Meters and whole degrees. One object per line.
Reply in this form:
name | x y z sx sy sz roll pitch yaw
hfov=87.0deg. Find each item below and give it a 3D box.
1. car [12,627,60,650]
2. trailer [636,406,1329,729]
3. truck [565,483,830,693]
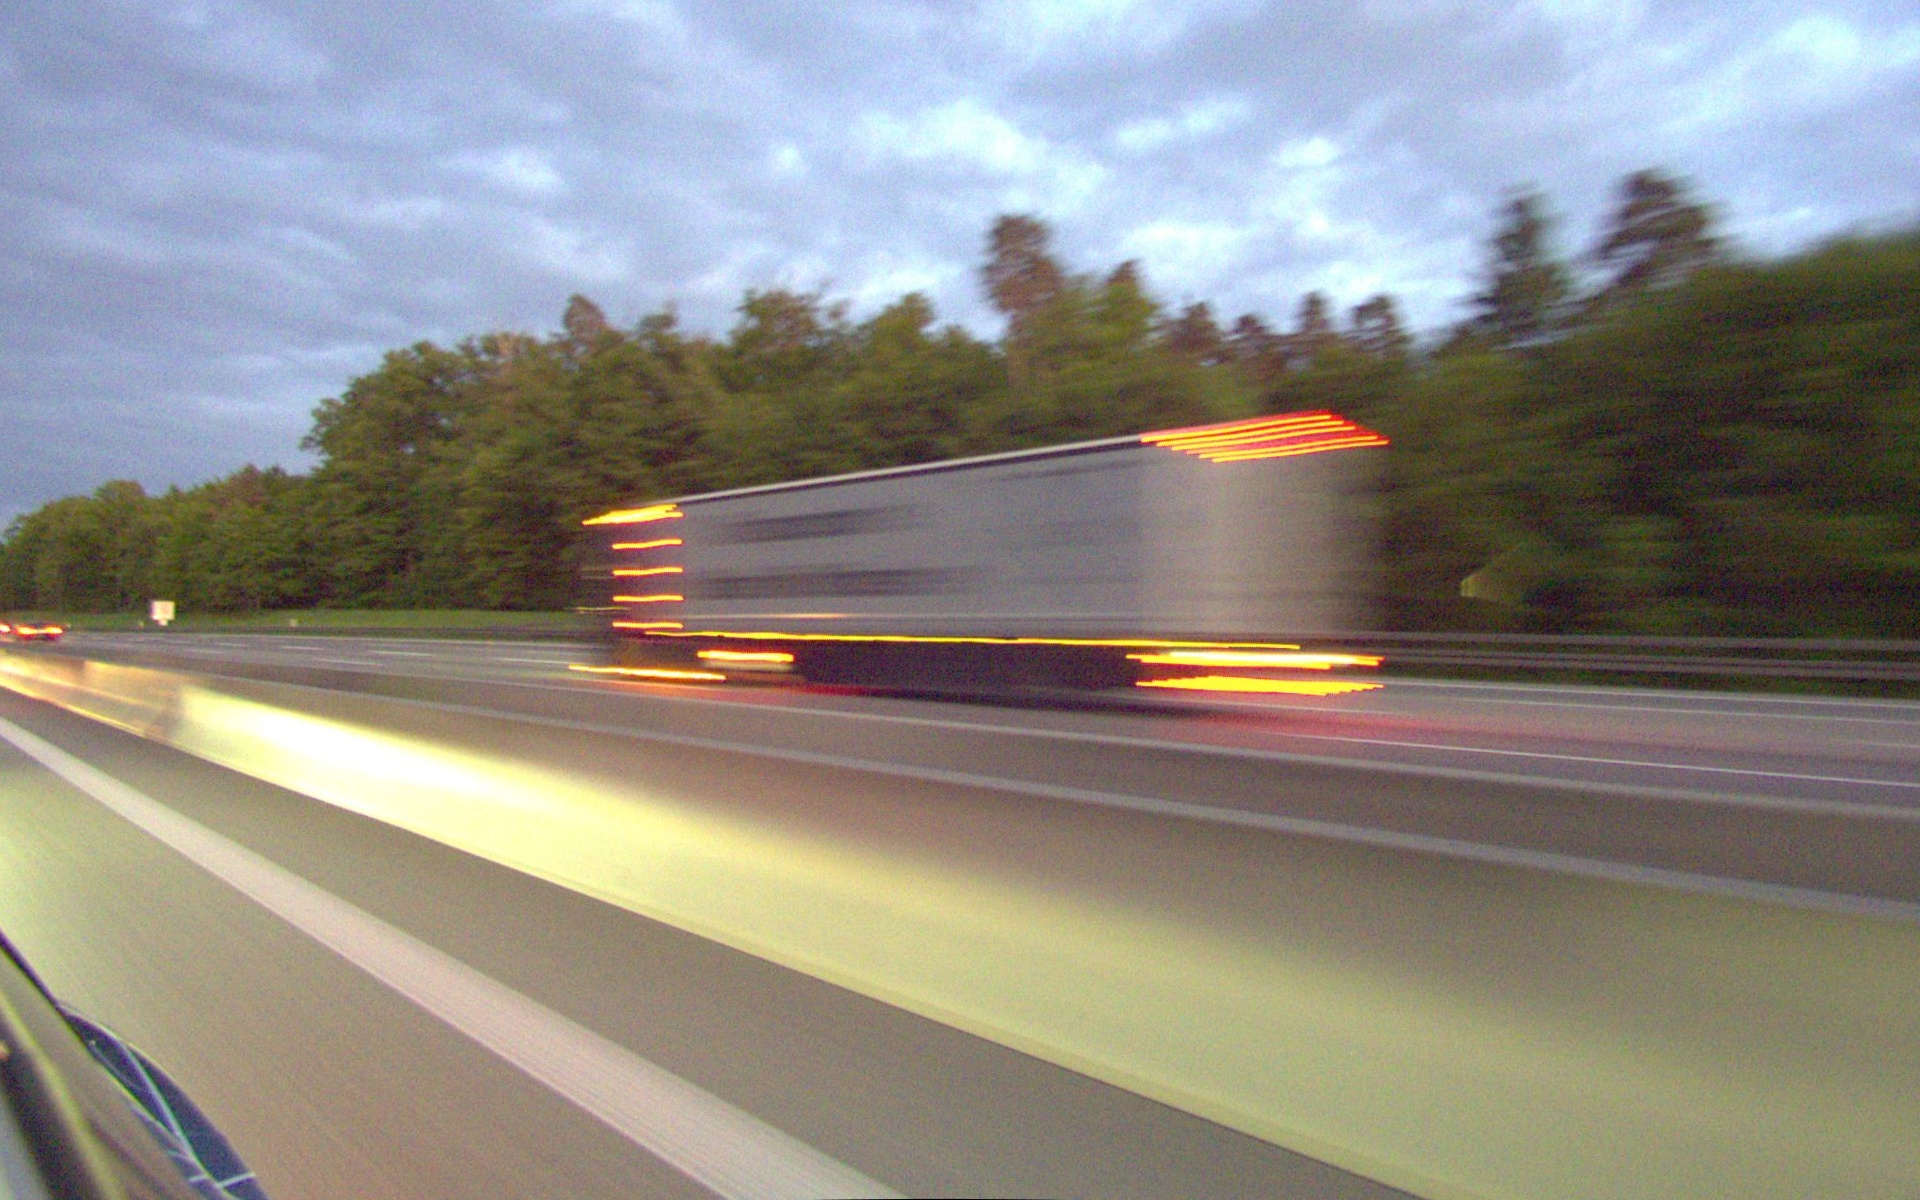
car | -60.679 2.500 66.441 4.936 1.412 1.758 -1 -1 41
trailer | -0.838 -0.281 18.660 14.315 4.163 2.623 -1 -2 40
truck | -6.162 -0.174 23.183 6.519 4.163 2.623 -1 -2 40
